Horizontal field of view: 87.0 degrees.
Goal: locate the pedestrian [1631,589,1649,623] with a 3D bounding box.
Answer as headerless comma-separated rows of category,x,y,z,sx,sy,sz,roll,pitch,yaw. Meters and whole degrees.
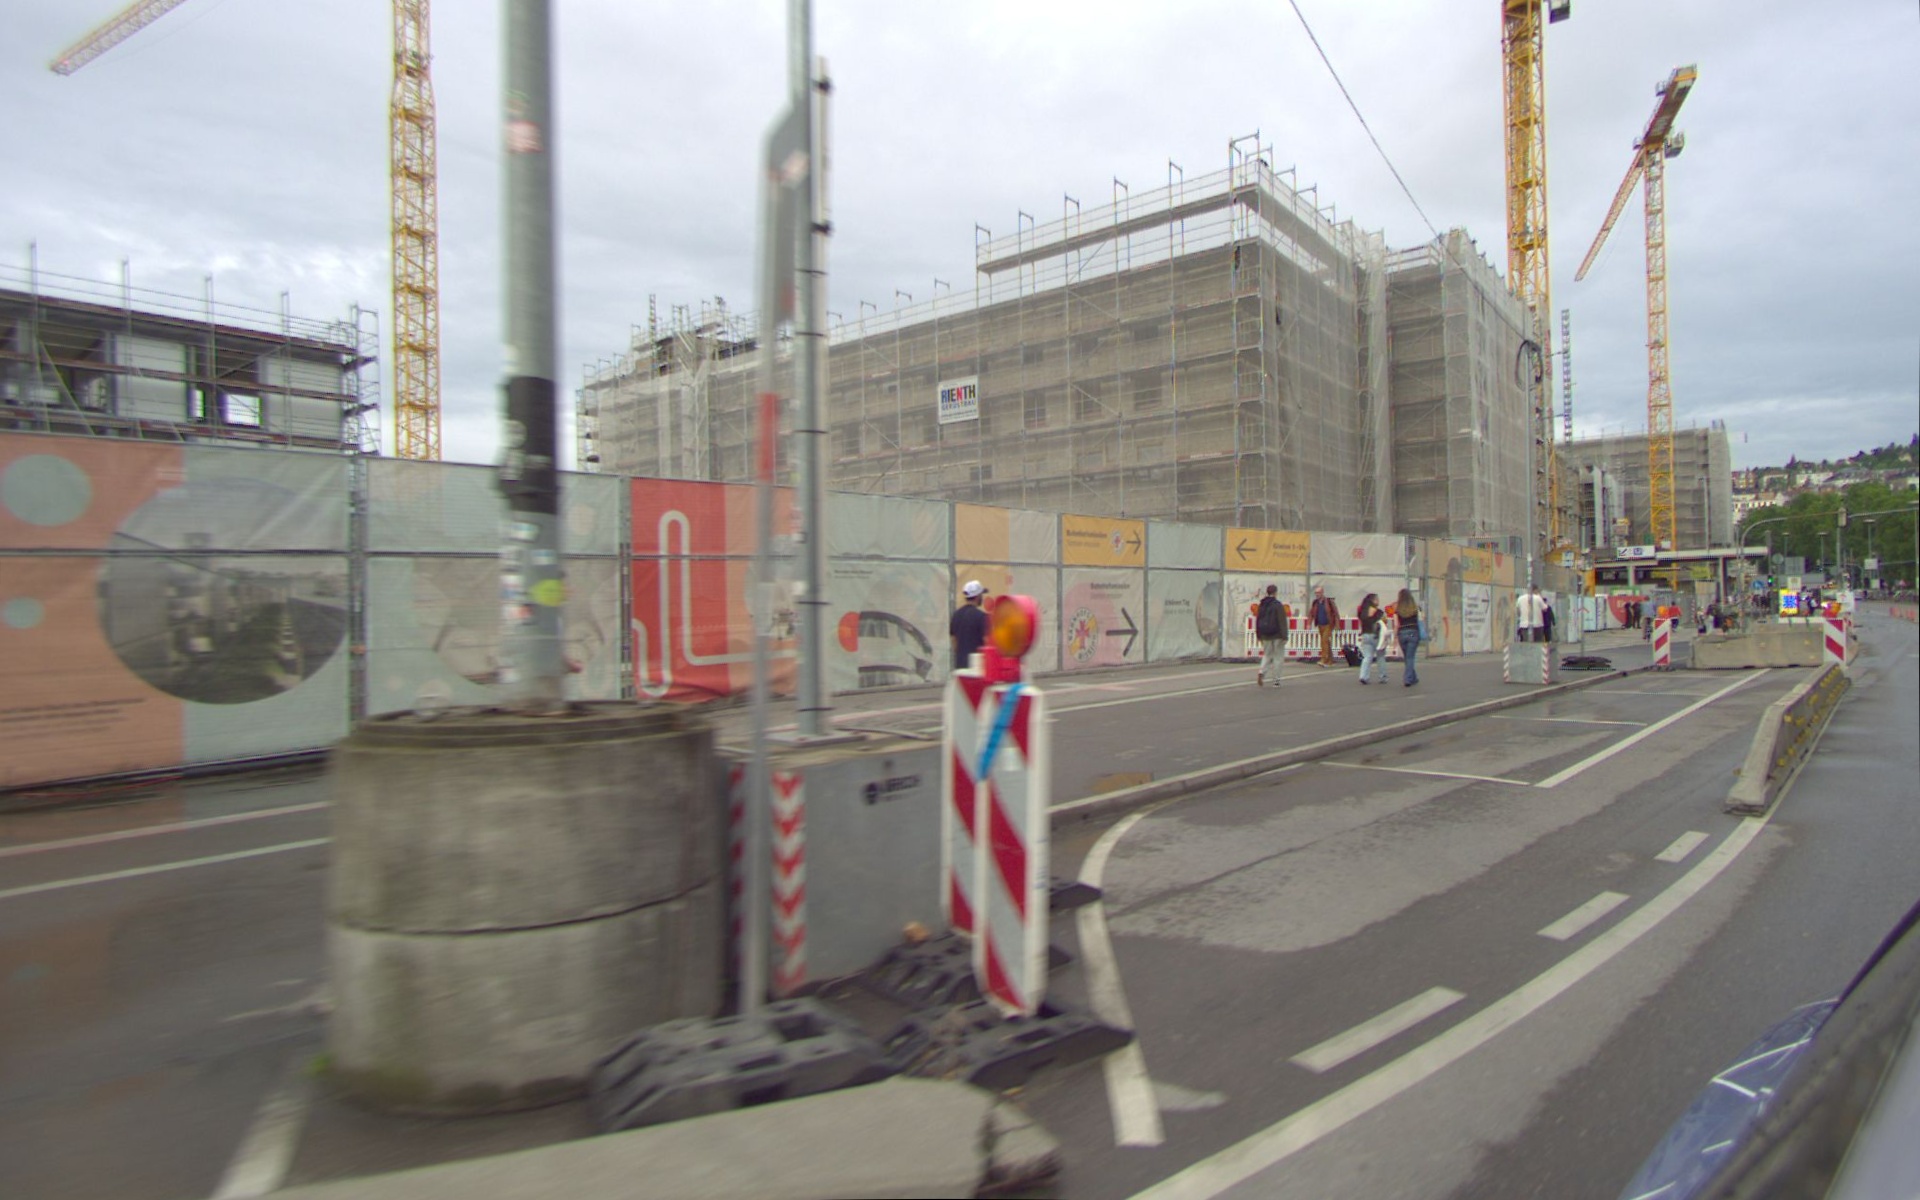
pedestrian,40.556,0.354,60.393,0.615,2.039,0.642,0,-1,-25

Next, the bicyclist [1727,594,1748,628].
bicyclist,39.076,0.550,50.877,0.425,1.726,0.697,0,-1,-31

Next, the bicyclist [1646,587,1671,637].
bicyclist,28.629,0.477,41.462,0.589,2.039,0.727,0,-1,-44

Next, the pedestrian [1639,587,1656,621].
pedestrian,41.840,0.260,61.563,0.617,2.039,0.577,-1,-1,9

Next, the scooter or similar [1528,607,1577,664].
scooter or similar,12.940,0.758,22.111,1.027,1.214,0.665,0,-1,-44

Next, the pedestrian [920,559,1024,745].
pedestrian,0.122,0.494,10.101,0.642,1.763,0.824,-1,-1,43

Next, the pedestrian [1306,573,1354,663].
pedestrian,8.062,0.379,22.045,0.643,1.919,0.767,0,-1,-44

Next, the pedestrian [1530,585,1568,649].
pedestrian,18.227,0.517,31.299,0.651,1.919,0.849,0,-1,-44

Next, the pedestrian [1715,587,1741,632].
pedestrian,35.234,0.422,46.431,0.850,2.037,0.788,0,0,-40

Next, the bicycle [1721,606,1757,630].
bicycle,39.237,0.882,50.945,1.952,1.148,0.757,-1,1,-30

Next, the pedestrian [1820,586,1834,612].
pedestrian,67.960,-0.109,79.367,0.730,2.039,0.638,-1,0,35

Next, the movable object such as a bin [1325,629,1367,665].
movable object such as a bin,8.471,1.028,22.205,0.597,0.743,0.765,-1,-1,44

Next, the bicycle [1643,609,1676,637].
bicycle,28.707,0.934,41.520,1.949,1.126,0.766,0,-1,-45

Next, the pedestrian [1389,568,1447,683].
pedestrian,7.838,0.426,17.318,0.682,1.913,0.684,0,-1,-44

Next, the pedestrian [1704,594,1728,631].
pedestrian,37.142,0.601,49.718,0.867,1.778,0.813,0,-1,-45

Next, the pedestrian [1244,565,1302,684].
pedestrian,5.198,0.401,16.804,0.683,1.913,0.683,-1,-1,42

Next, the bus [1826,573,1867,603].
bus,98.575,-1.272,112.626,2.985,3.178,7.659,-1,0,38

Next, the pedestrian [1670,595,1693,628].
pedestrian,39.033,0.624,54.743,0.733,1.748,0.711,3,2,17

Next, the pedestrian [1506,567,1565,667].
pedestrian,12.138,0.354,21.345,0.956,2.042,0.803,0,-1,-44

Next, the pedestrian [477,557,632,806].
pedestrian,-3.094,0.581,7.735,0.683,1.763,0.893,-1,-1,43

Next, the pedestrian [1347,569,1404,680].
pedestrian,7.319,0.422,17.834,0.682,1.913,0.684,0,-1,-44
